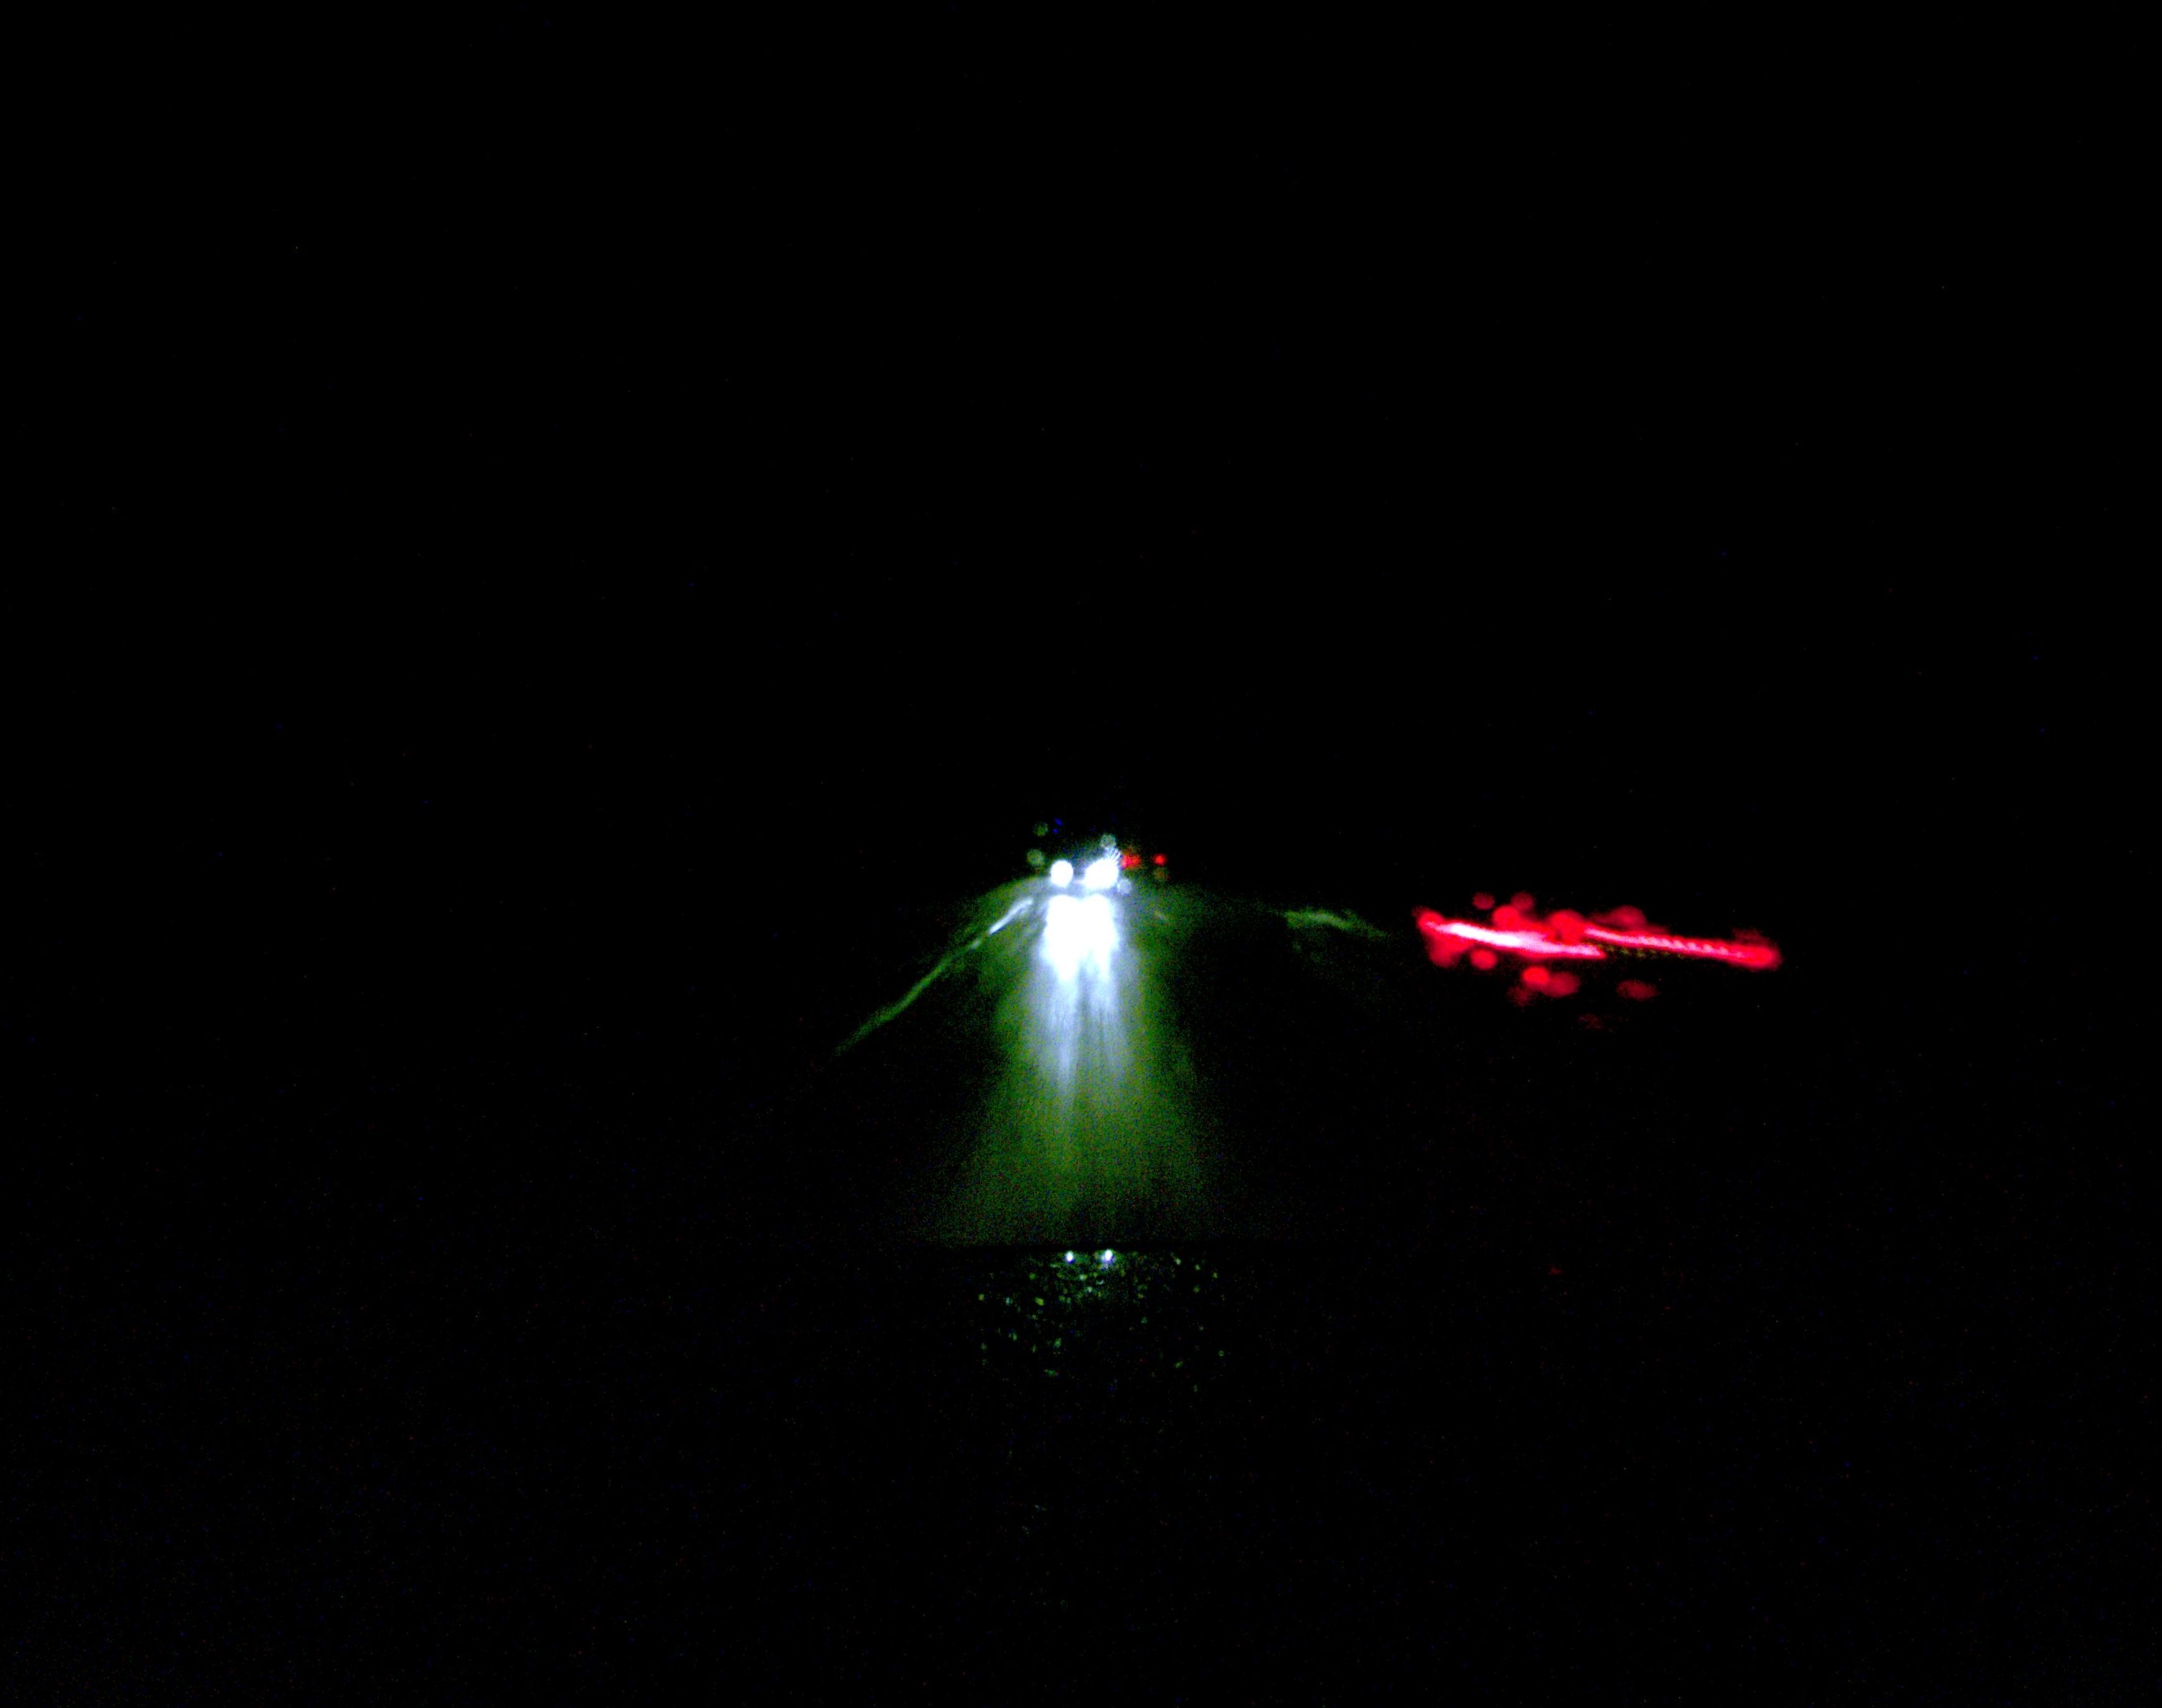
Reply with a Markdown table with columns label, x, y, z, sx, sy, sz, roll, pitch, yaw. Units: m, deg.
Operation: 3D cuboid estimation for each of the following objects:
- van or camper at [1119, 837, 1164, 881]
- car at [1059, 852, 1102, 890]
| label | x | y | z | sx | sy | sz | roll | pitch | yaw |
| --- | --- | --- | --- | --- | --- | --- | --- | --- | --- |
| van or camper | 3.731 | 0.277 | 47.882 | 2.129 | 2.550 | 5.782 | 1 | 0 | -2 |
| car | 0.007 | 0.746 | 33.952 | 1.793 | 1.593 | 4.000 | 0 | -1 | 0 |
